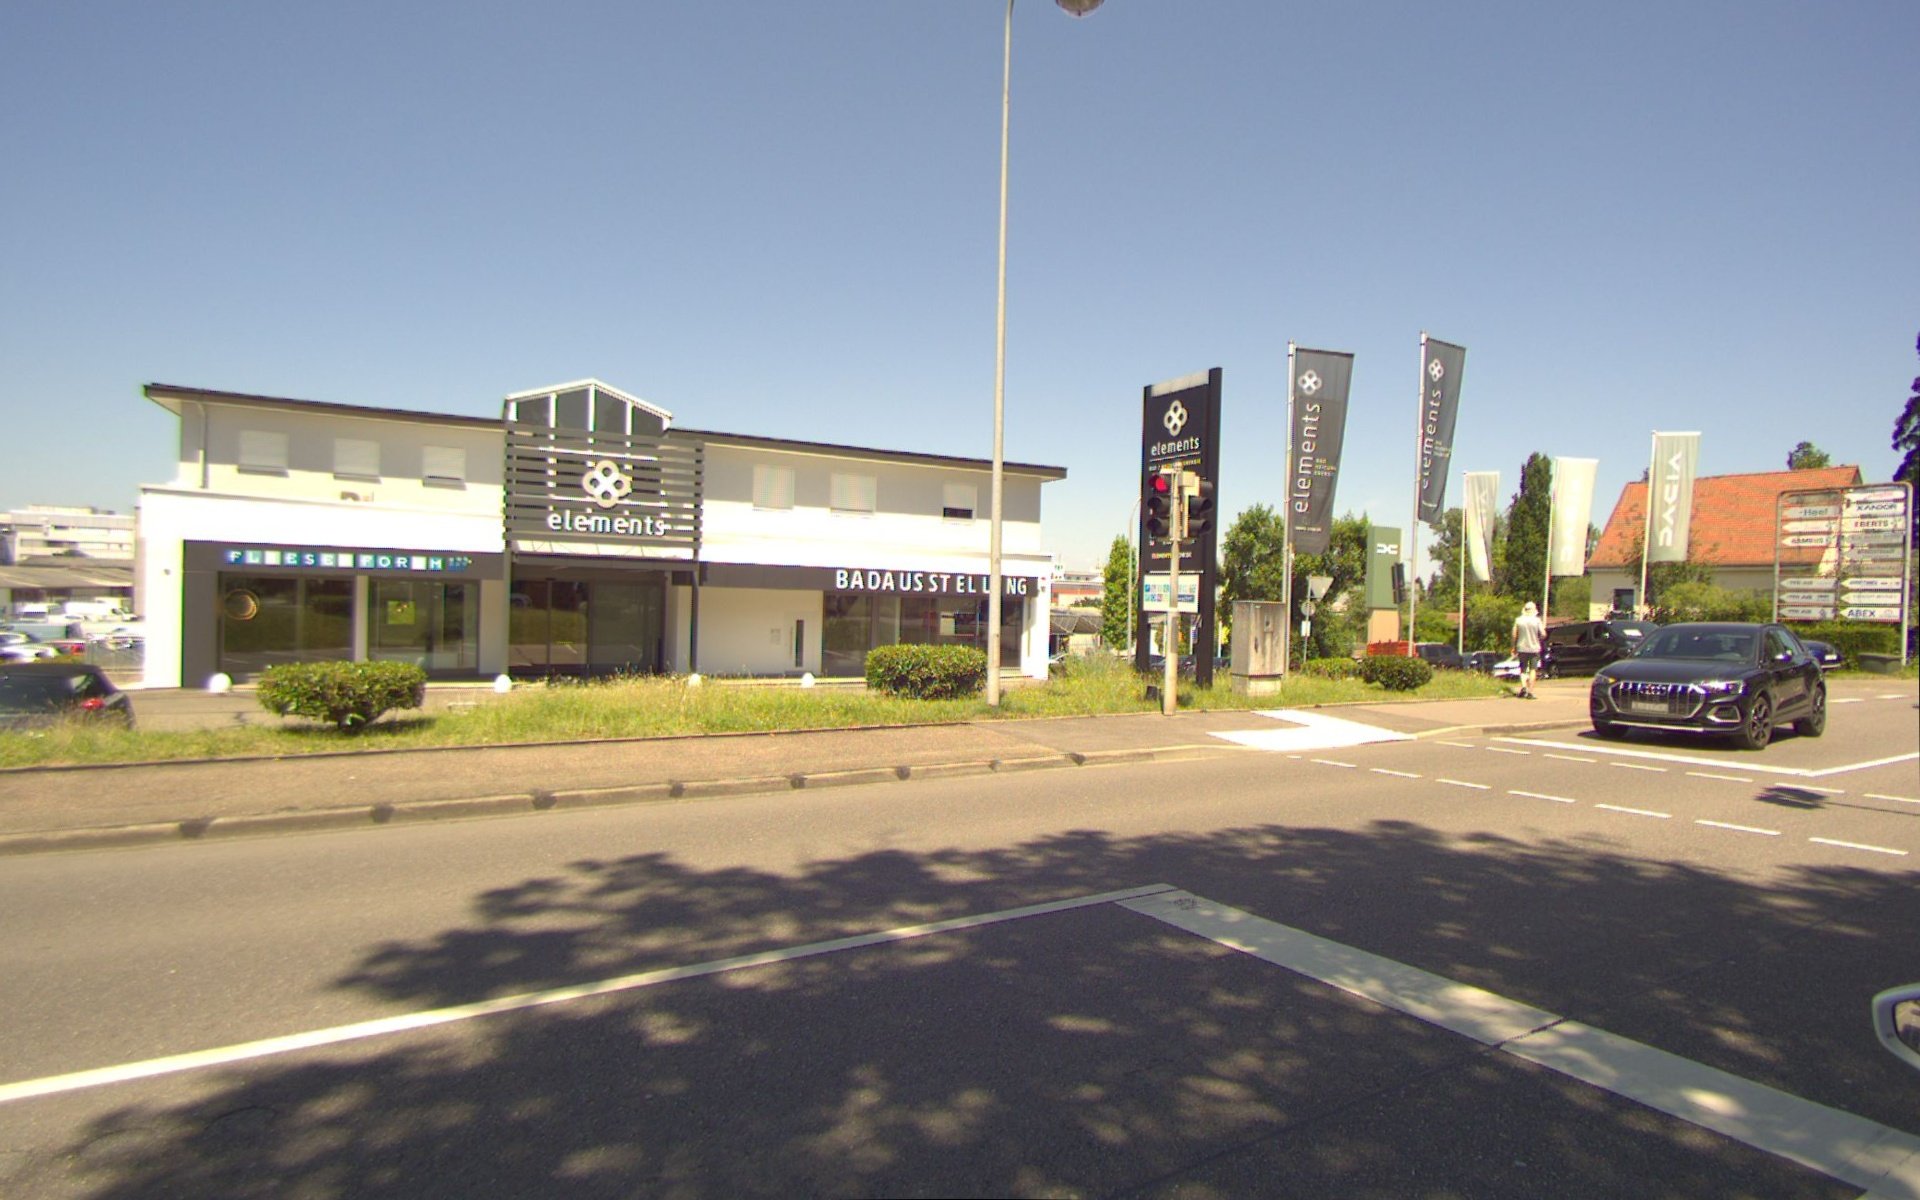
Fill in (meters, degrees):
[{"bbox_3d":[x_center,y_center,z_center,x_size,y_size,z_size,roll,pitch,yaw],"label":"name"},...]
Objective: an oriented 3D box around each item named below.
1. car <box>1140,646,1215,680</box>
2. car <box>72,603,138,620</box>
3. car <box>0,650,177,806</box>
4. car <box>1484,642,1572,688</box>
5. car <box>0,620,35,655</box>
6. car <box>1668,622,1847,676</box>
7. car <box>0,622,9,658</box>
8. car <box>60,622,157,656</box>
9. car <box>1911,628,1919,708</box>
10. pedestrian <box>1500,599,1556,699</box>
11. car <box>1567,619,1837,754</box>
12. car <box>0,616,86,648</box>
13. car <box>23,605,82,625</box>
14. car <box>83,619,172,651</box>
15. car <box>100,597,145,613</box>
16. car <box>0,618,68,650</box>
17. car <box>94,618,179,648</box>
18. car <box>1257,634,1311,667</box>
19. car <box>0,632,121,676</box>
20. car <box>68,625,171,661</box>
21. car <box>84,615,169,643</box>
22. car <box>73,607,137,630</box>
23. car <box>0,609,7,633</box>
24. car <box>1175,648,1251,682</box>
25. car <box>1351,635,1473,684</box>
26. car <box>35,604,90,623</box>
[{"bbox_3d":[10.908,3.110,50.215,3.973,1.506,1.735,2,-1,-44],"label":"car"},{"bbox_3d":[-95.722,1.311,112.558,5.236,1.778,2.051,2,-1,-28],"label":"car"},{"bbox_3d":[-11.752,1.506,12.870,1.746,1.553,4.076,1,-1,-24],"label":"car"},{"bbox_3d":[23.902,2.681,42.216,4.053,1.744,1.795,2,0,-38],"label":"car"},{"bbox_3d":[-51.423,1.959,52.788,3.726,1.778,1.719,2,-1,-28],"label":"car"},{"bbox_3d":[24.981,1.502,31.655,1.751,1.524,4.129,1,-1,-20],"label":"car"},{"bbox_3d":[-49.203,1.939,48.965,3.726,1.778,1.719,2,-1,-28],"label":"car"},{"bbox_3d":[-46.766,2.133,55.261,3.726,1.778,1.719,2,-1,-28],"label":"car"},{"bbox_3d":[20.594,1.357,19.815,4.011,1.527,1.857,2,-1,-34],"label":"car"},{"bbox_3d":[10.332,0.879,18.292,0.689,1.785,0.545,1,0,-4],"label":"pedestrian"},{"bbox_3d":[10.471,1.104,14.078,4.263,1.576,1.912,2,-1,-37],"label":"car"},{"bbox_3d":[-54.817,1.912,59.915,3.726,1.778,1.719,2,-1,-28],"label":"car"},{"bbox_3d":[-84.534,1.384,93.629,3.726,1.778,1.719,2,0,-28],"label":"car"},{"bbox_3d":[-49.245,2.075,59.484,3.726,1.778,1.719,2,-1,-28],"label":"car"},{"bbox_3d":[-99.691,0.620,119.577,3.726,1.778,1.719,2,-1,-28],"label":"car"},{"bbox_3d":[-53.426,1.936,57.107,3.726,1.778,1.719,2,-1,-28],"label":"car"},{"bbox_3d":[-50.700,2.048,61.958,3.726,1.778,1.719,2,-1,-28],"label":"car"},{"bbox_3d":[18.892,2.932,58.508,1.785,1.744,4.075,1,0,36],"label":"car"},{"bbox_3d":[-39.030,2.310,43.547,3.726,1.778,1.719,2,-1,-28],"label":"car"},{"bbox_3d":[-43.345,2.220,51.901,3.726,1.778,1.719,2,-1,-28],"label":"car"},{"bbox_3d":[-55.229,1.927,66.632,4.004,1.778,1.719,2,-1,-28],"label":"car"},{"bbox_3d":[-71.017,1.554,83.480,3.726,1.778,1.719,2,0,-28],"label":"car"},{"bbox_3d":[-74.810,1.585,75.839,3.726,1.778,1.719,2,0,-28],"label":"car"},{"bbox_3d":[12.004,3.044,47.555,3.838,1.434,1.633,2,-1,-41],"label":"car"},{"bbox_3d":[17.223,2.269,38.306,4.022,1.744,1.808,2,0,-16],"label":"car"},{"bbox_3d":[-88.191,1.351,98.765,3.726,1.778,1.719,2,1,-28],"label":"car"}]
